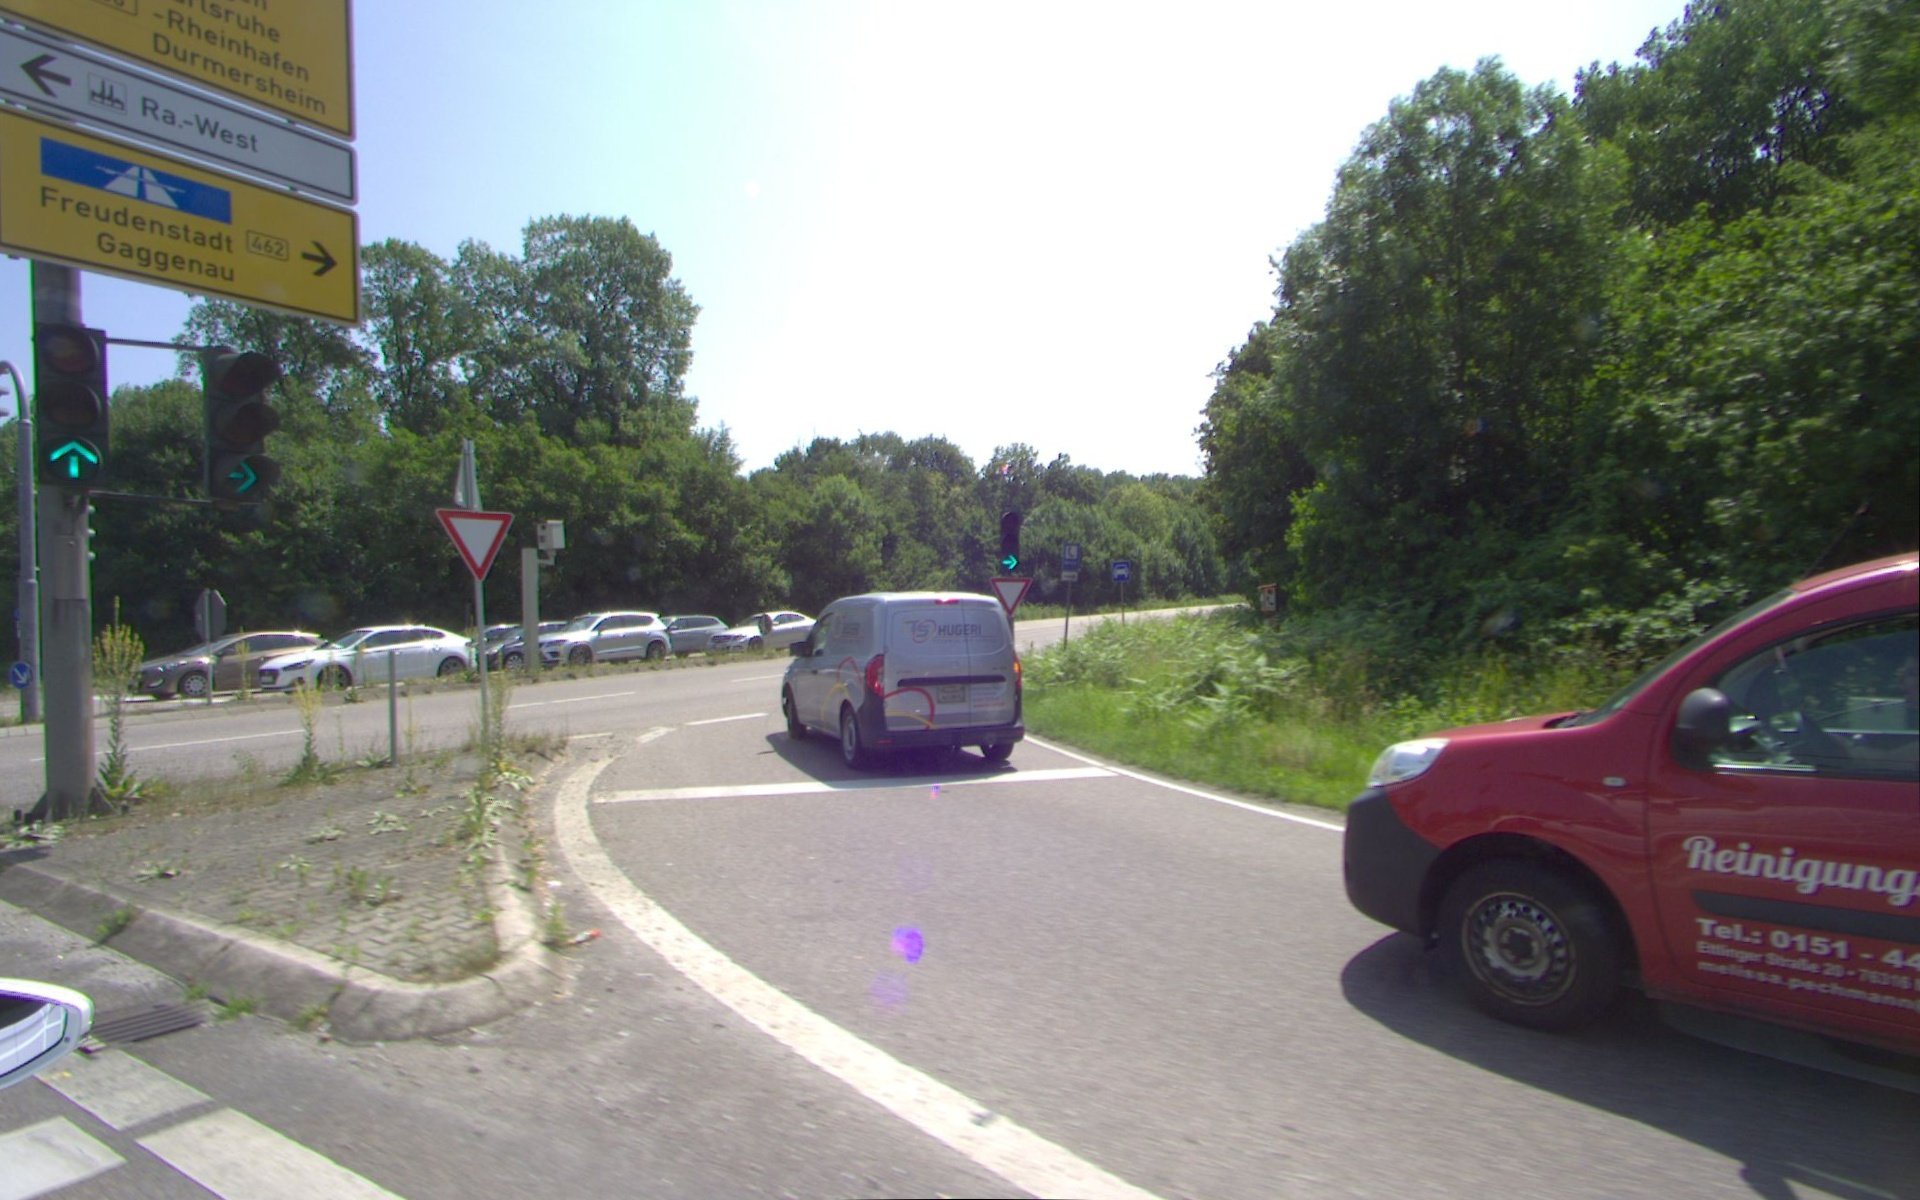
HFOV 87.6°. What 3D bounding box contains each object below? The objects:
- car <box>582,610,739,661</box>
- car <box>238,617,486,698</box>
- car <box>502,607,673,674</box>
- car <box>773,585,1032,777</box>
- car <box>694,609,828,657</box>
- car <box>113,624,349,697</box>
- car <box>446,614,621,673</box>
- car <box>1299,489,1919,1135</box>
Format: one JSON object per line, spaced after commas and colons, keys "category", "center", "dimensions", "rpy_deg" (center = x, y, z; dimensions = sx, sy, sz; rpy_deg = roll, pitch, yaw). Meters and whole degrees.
{"category": "car", "center": [-10.370, 1.204, 35.097], "dimensions": [2.108, 1.553, 5.117], "rpy_deg": [-2, -1, 32]}
{"category": "car", "center": [-13.390, 1.224, 22.707], "dimensions": [1.971, 1.555, 4.412], "rpy_deg": [-1, 0, 30]}
{"category": "car", "center": [-10.346, 1.080, 28.102], "dimensions": [1.972, 1.681, 4.163], "rpy_deg": [-1, 0, 32]}
{"category": "car", "center": [-0.865, 0.806, 11.584], "dimensions": [1.733, 1.796, 4.099], "rpy_deg": [0, -1, -23]}
{"category": "car", "center": [-6.633, 1.090, 33.802], "dimensions": [1.946, 1.433, 4.320], "rpy_deg": [-2, 0, 33]}
{"category": "car", "center": [-17.184, 1.358, 23.798], "dimensions": [1.966, 1.466, 4.085], "rpy_deg": [-1, 0, 30]}
{"category": "car", "center": [-12.691, 1.255, 30.050], "dimensions": [2.092, 1.555, 4.410], "rpy_deg": [-2, -1, 32]}
{"category": "car", "center": [3.615, 0.617, 3.264], "dimensions": [4.450, 1.846, 1.781], "rpy_deg": [-2, -2, 44]}
